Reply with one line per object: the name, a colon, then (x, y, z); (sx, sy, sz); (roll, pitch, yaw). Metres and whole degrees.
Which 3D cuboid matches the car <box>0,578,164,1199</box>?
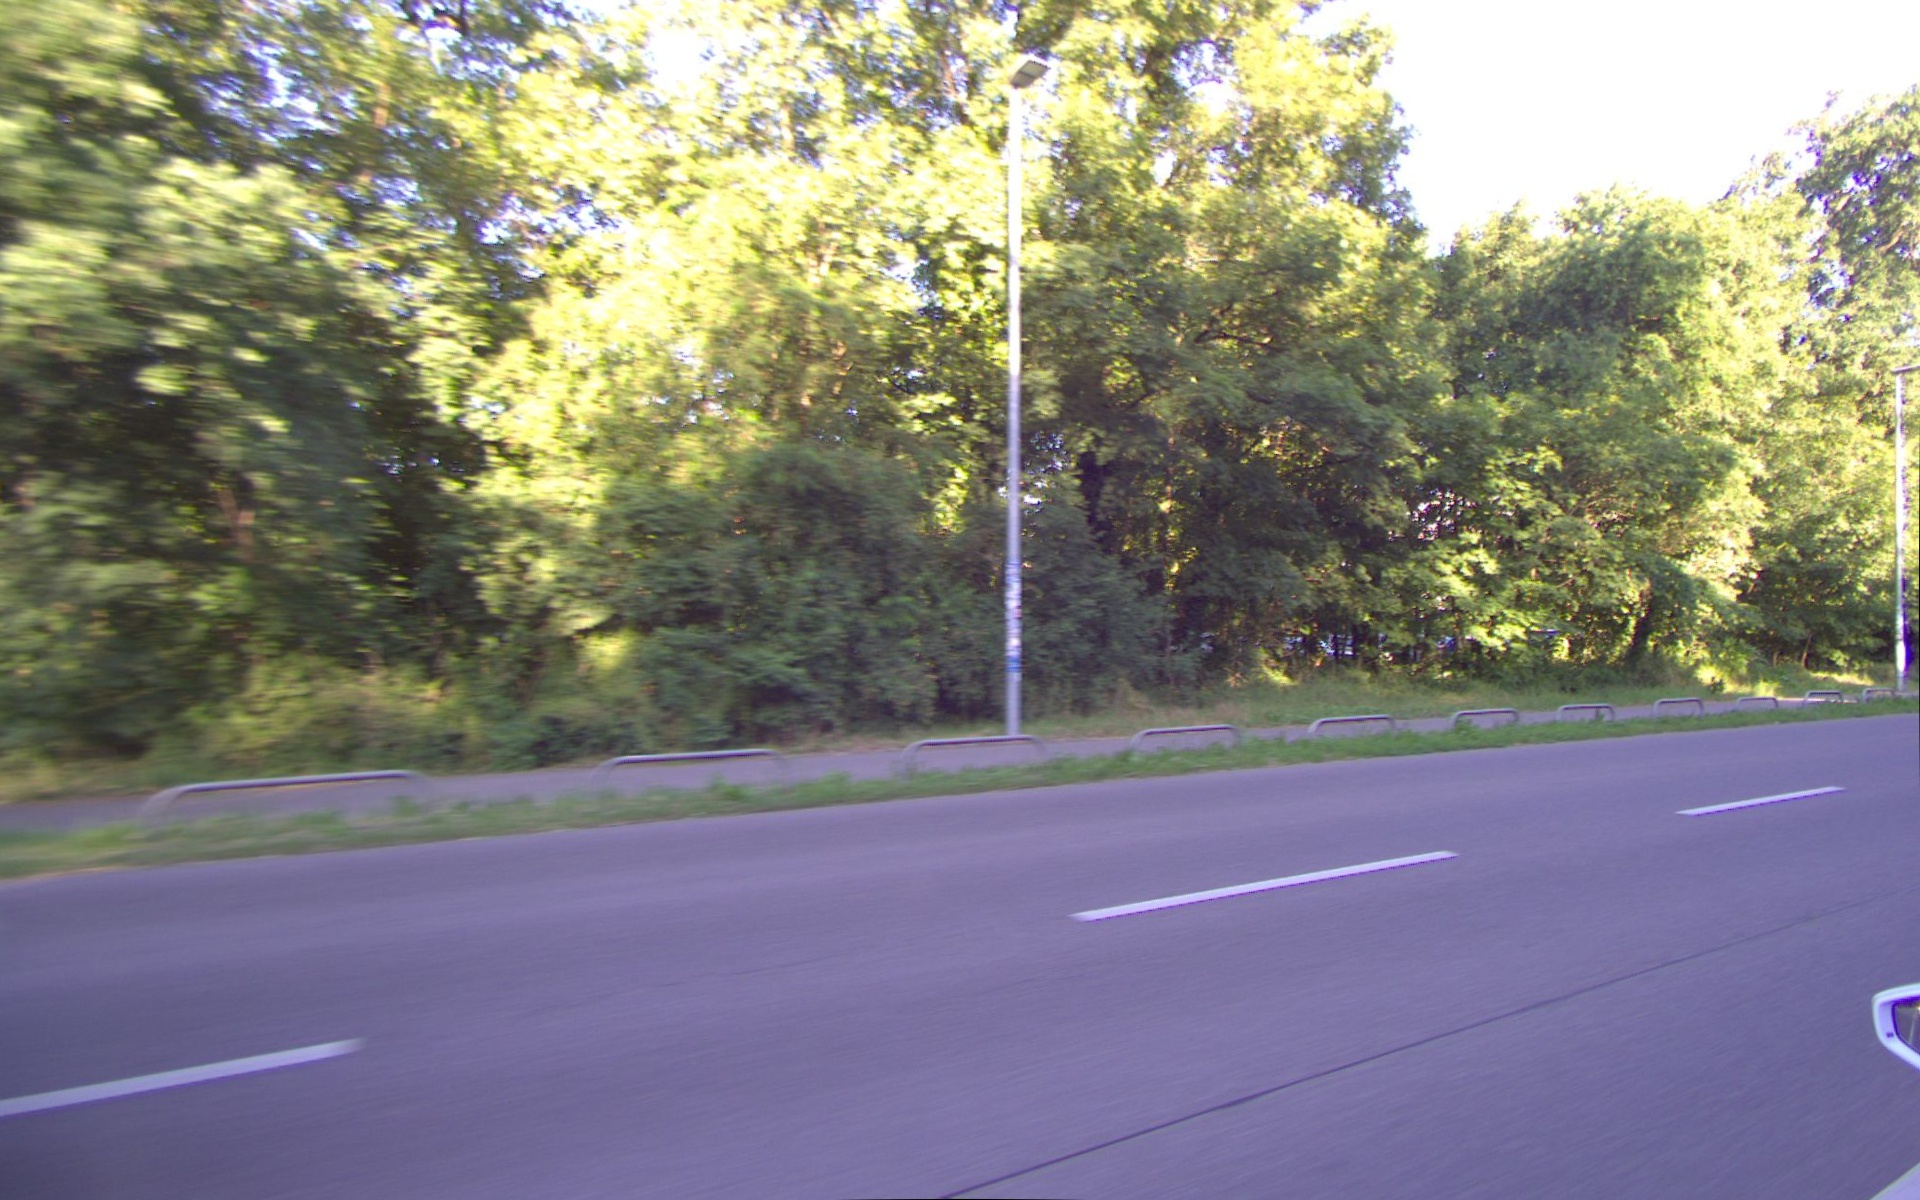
car: (-3.500, 0.636, 1.139); (3.845, 1.425, 1.673); (1, 0, -31)
